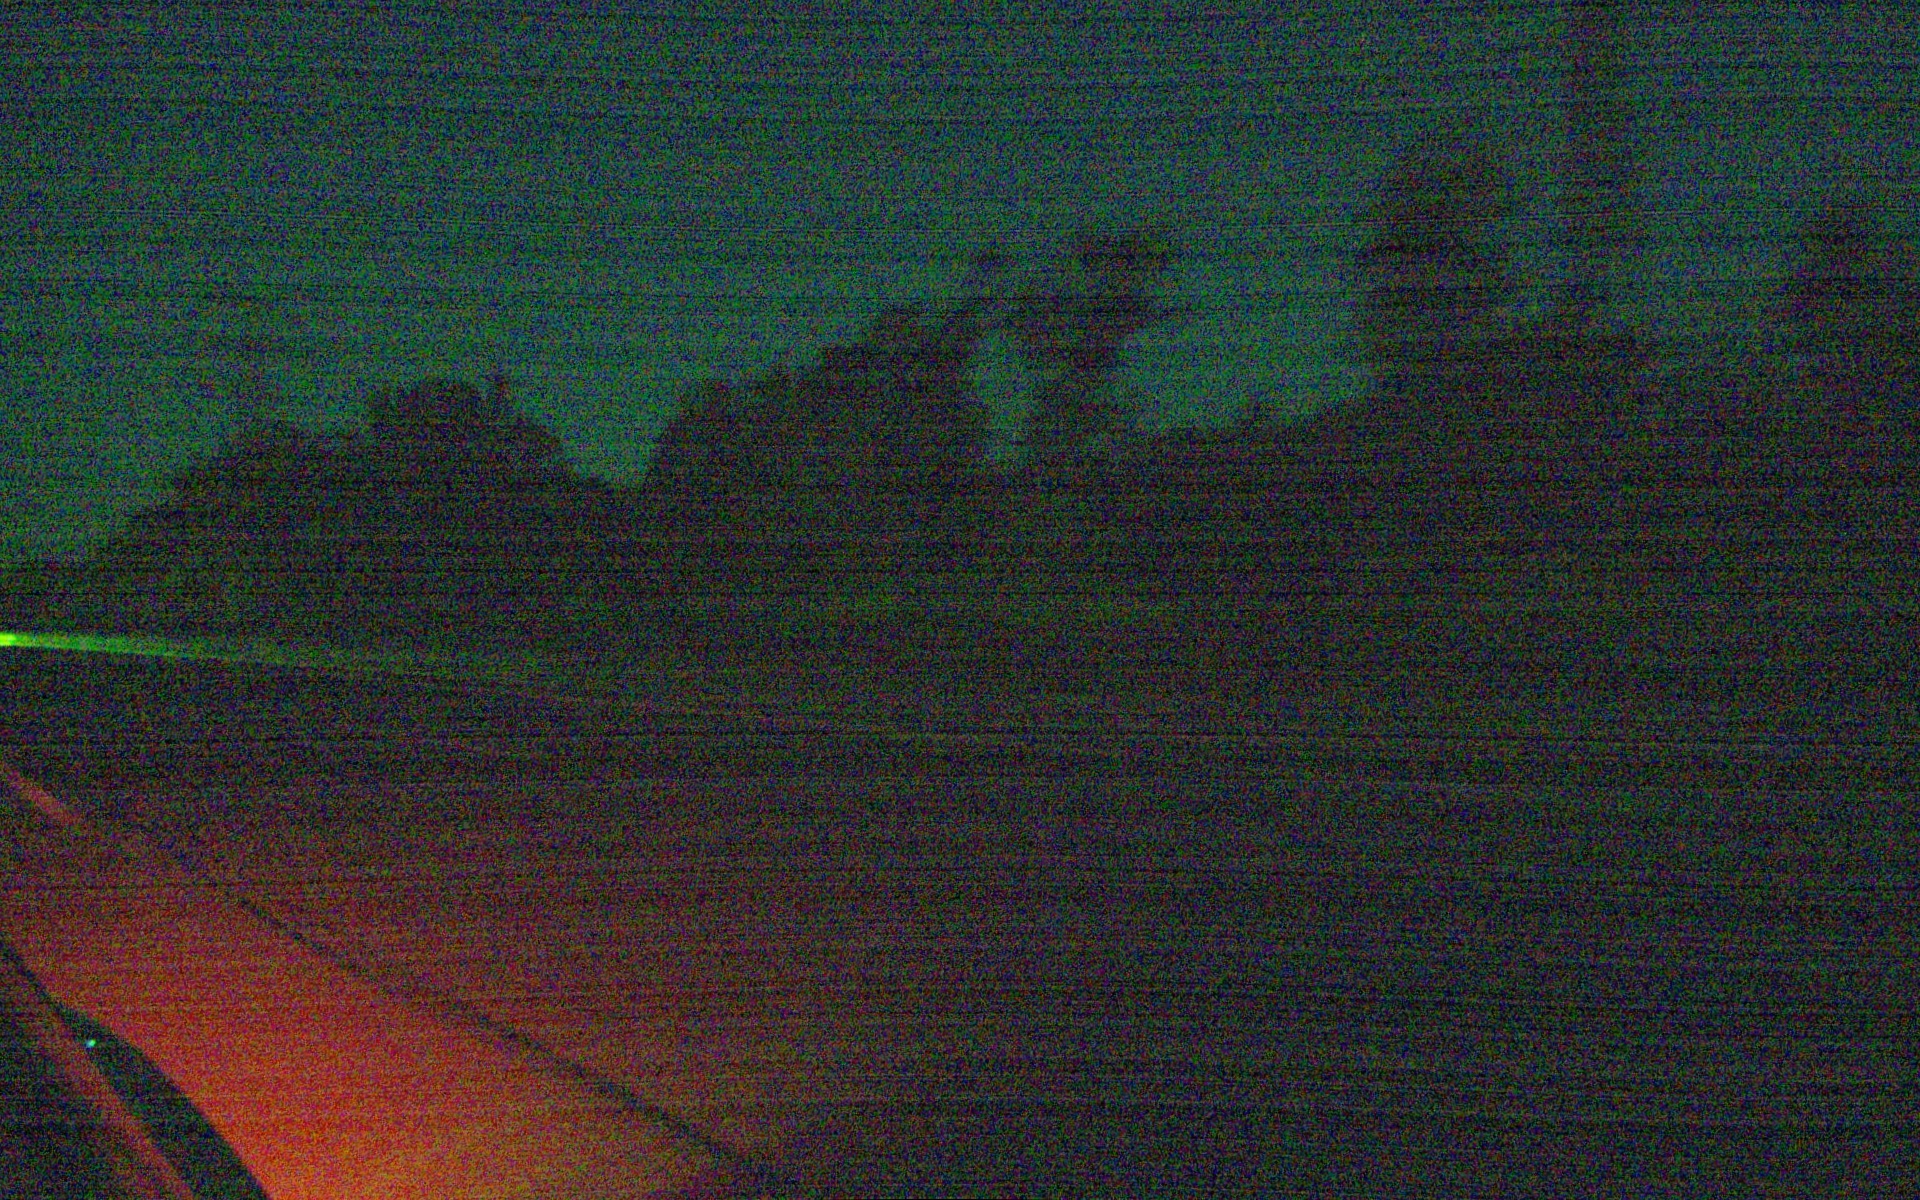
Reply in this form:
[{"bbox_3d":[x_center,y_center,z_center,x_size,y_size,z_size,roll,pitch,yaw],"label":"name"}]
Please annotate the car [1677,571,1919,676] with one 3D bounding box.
[{"bbox_3d":[14.277,0.367,16.531,3.999,1.573,1.876,-1,0,42],"label":"car"}]
